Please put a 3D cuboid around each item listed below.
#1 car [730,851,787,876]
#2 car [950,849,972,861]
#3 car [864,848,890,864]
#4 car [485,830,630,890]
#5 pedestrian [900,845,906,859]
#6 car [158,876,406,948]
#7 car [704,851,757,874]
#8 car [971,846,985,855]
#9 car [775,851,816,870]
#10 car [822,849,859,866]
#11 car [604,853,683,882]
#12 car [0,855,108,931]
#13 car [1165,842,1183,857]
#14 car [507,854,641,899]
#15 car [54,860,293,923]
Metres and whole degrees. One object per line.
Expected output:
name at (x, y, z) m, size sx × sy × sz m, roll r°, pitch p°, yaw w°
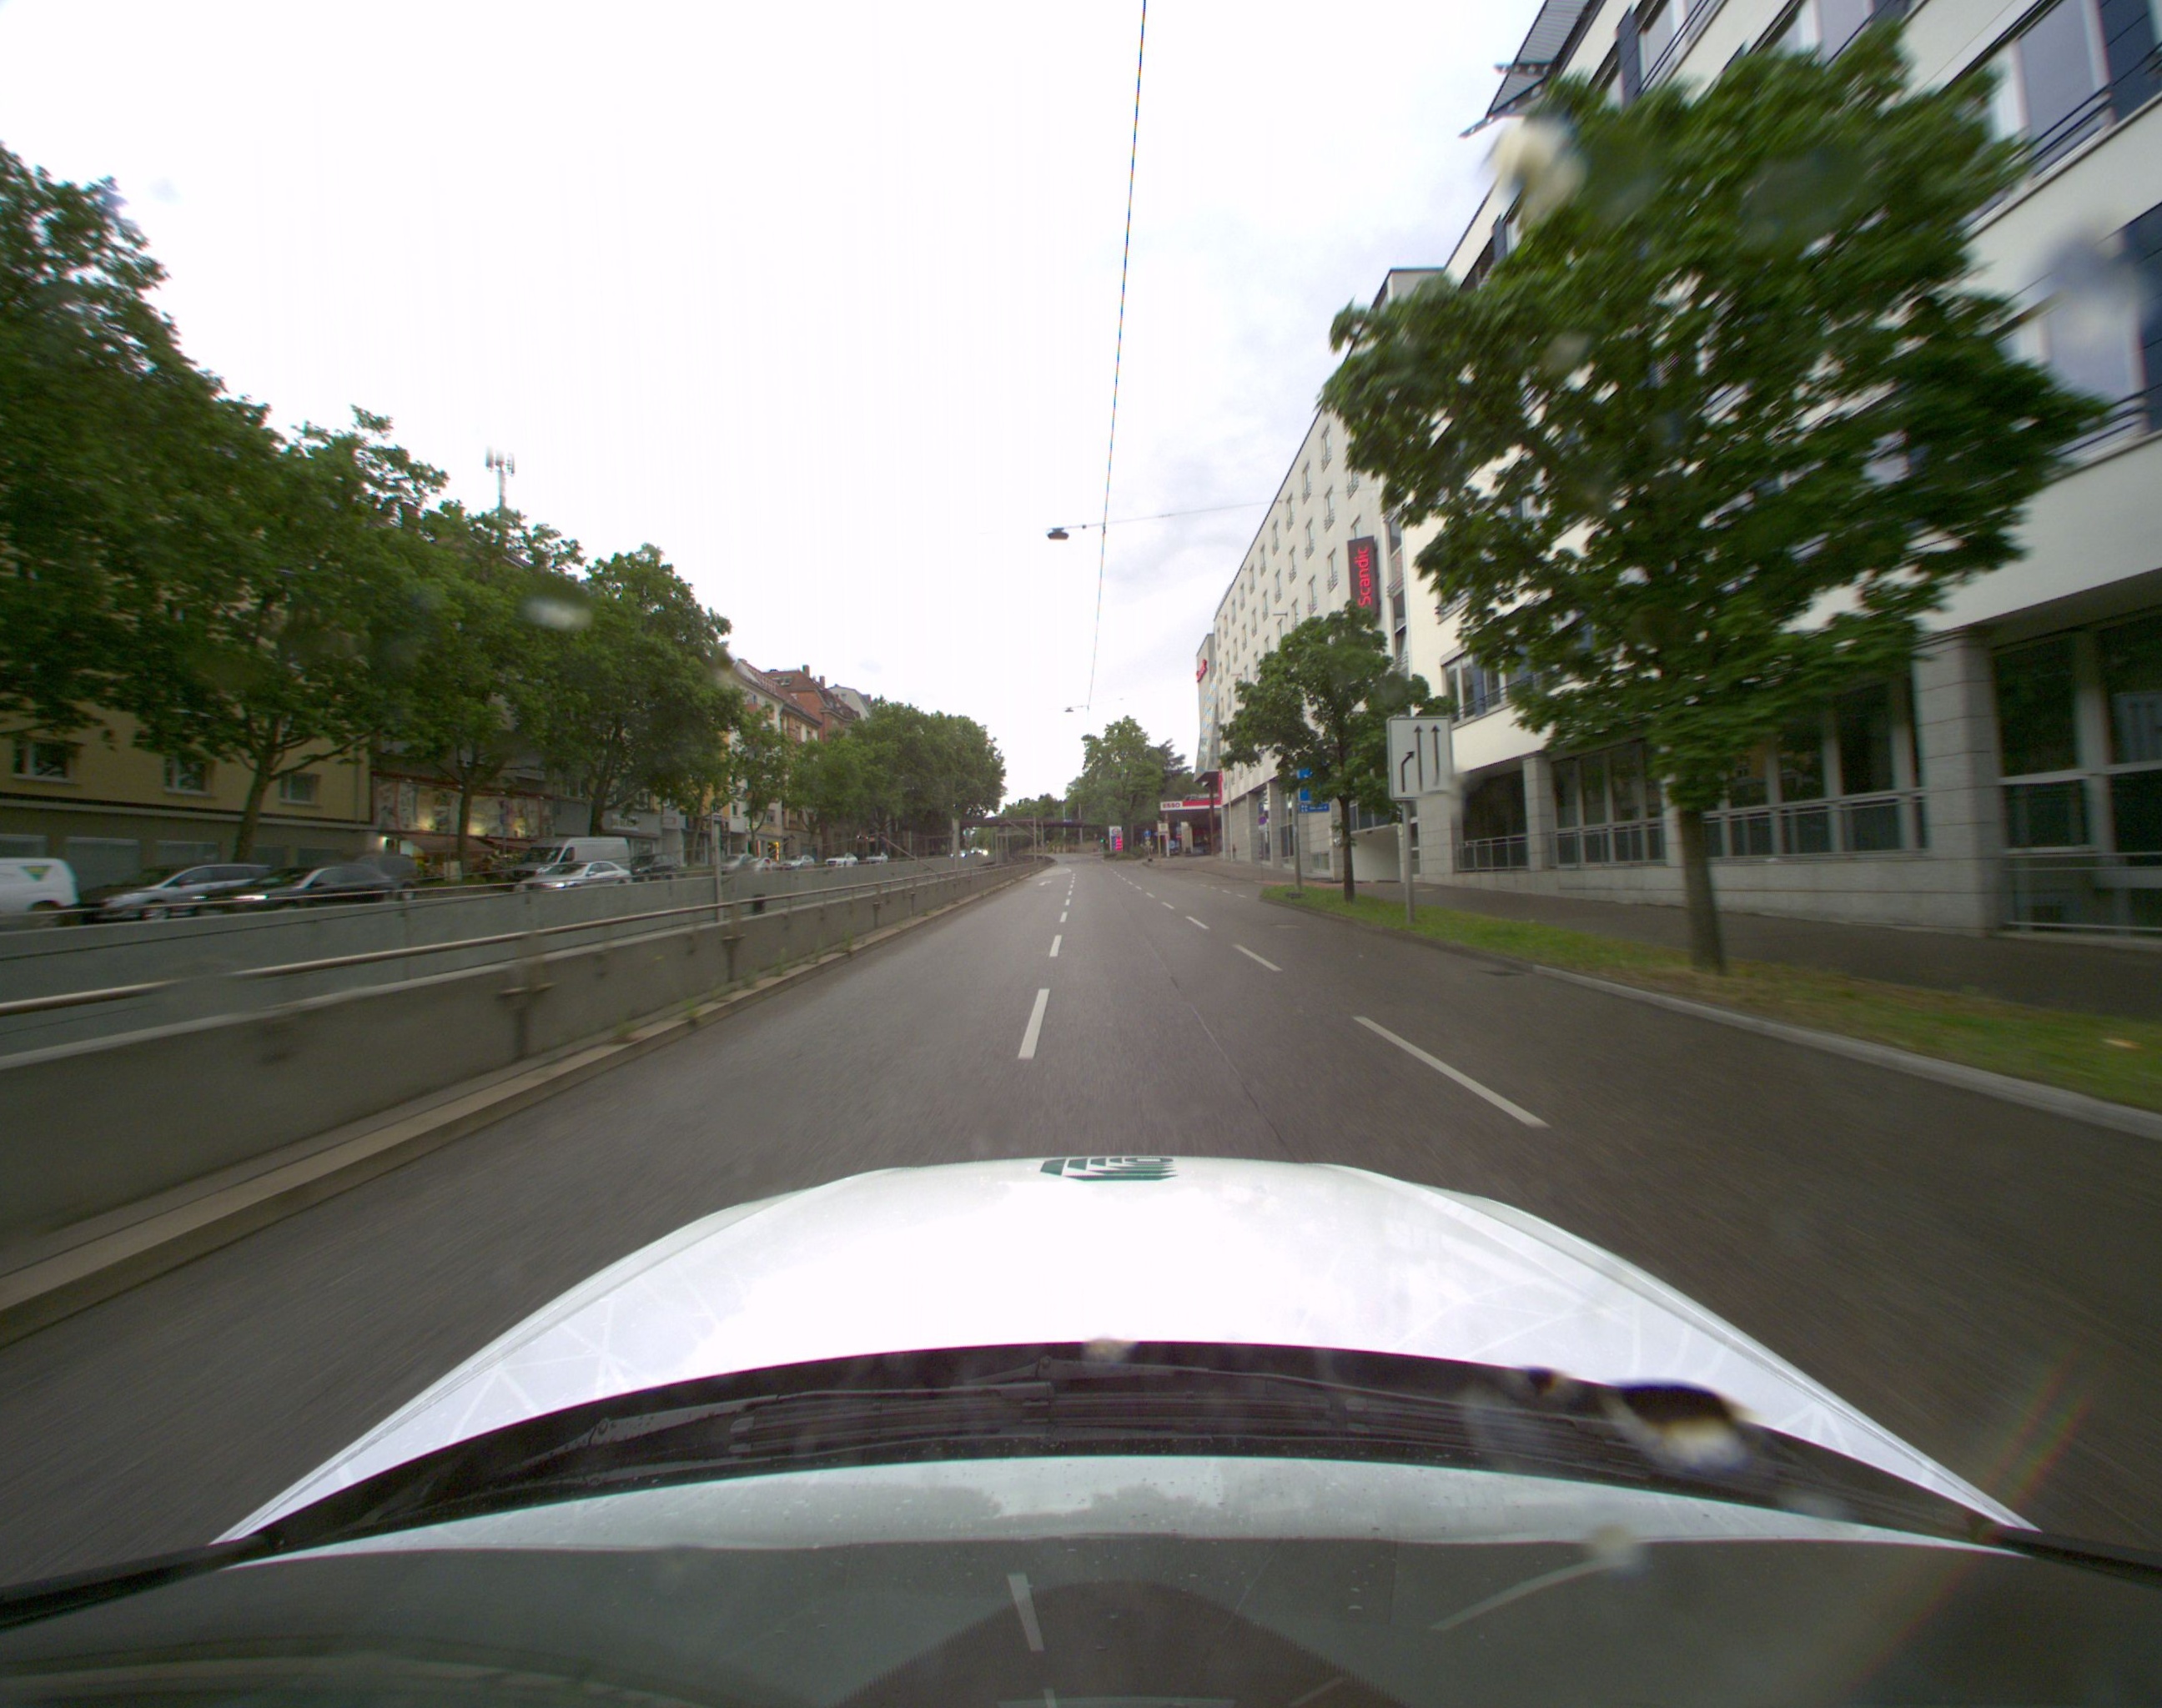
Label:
car at (-20.665, 0.601, 52.338) m, size 1.838 × 1.510 × 4.021 m, roll 0°, pitch 0°, yaw 4°
car at (-15.428, 0.095, 104.986) m, size 2.020 × 1.510 × 4.883 m, roll 0°, pitch 0°, yaw 0°
car at (-22.522, 0.206, 90.020) m, size 1.788 × 1.611 × 4.113 m, roll 0°, pitch 0°, yaw 1°
car at (-25.350, 0.257, 39.927) m, size 2.443 × 2.662 × 6.934 m, roll 0°, pitch 0°, yaw 2°
pedestrian at (-24.574, -0.254, 112.430) m, size 0.666 × 2.014 × 0.935 m, roll 0°, pitch -1°, yaw 4°
car at (-19.622, 1.354, 20.326) m, size 1.787 × 1.510 × 4.346 m, roll -1°, pitch -1°, yaw 2°
car at (-24.561, 0.578, 57.193) m, size 1.787 × 1.571 × 4.210 m, roll 0°, pitch 0°, yaw 2°
car at (-21.560, -0.784, 170.505) m, size 1.948 × 1.852 × 4.971 m, roll 0°, pitch 0°, yaw 3°
car at (-23.742, 0.489, 67.927) m, size 1.787 × 1.510 × 4.210 m, roll 0°, pitch 0°, yaw 2°
car at (-23.256, 0.307, 78.901) m, size 1.920 × 1.601 × 5.201 m, roll 0°, pitch 0°, yaw 2°
car at (-24.828, 0.742, 46.420) m, size 1.787 × 1.510 × 4.674 m, roll 0°, pitch 0°, yaw 2°
car at (-26.184, 0.933, 18.703) m, size 1.872 × 1.764 × 4.897 m, roll 0°, pitch 0°, yaw -2°
car at (11.077, -0.519, 97.042) m, size 1.762 × 1.623 × 3.876 m, roll -4°, pitch -1°, yaw 9°
car at (-18.937, 0.782, 30.726) m, size 1.839 × 1.510 × 4.824 m, roll 0°, pitch 0°, yaw 2°
car at (-25.925, 0.992, 23.558) m, size 1.870 × 1.583 × 4.473 m, roll 0°, pitch 0°, yaw 0°
